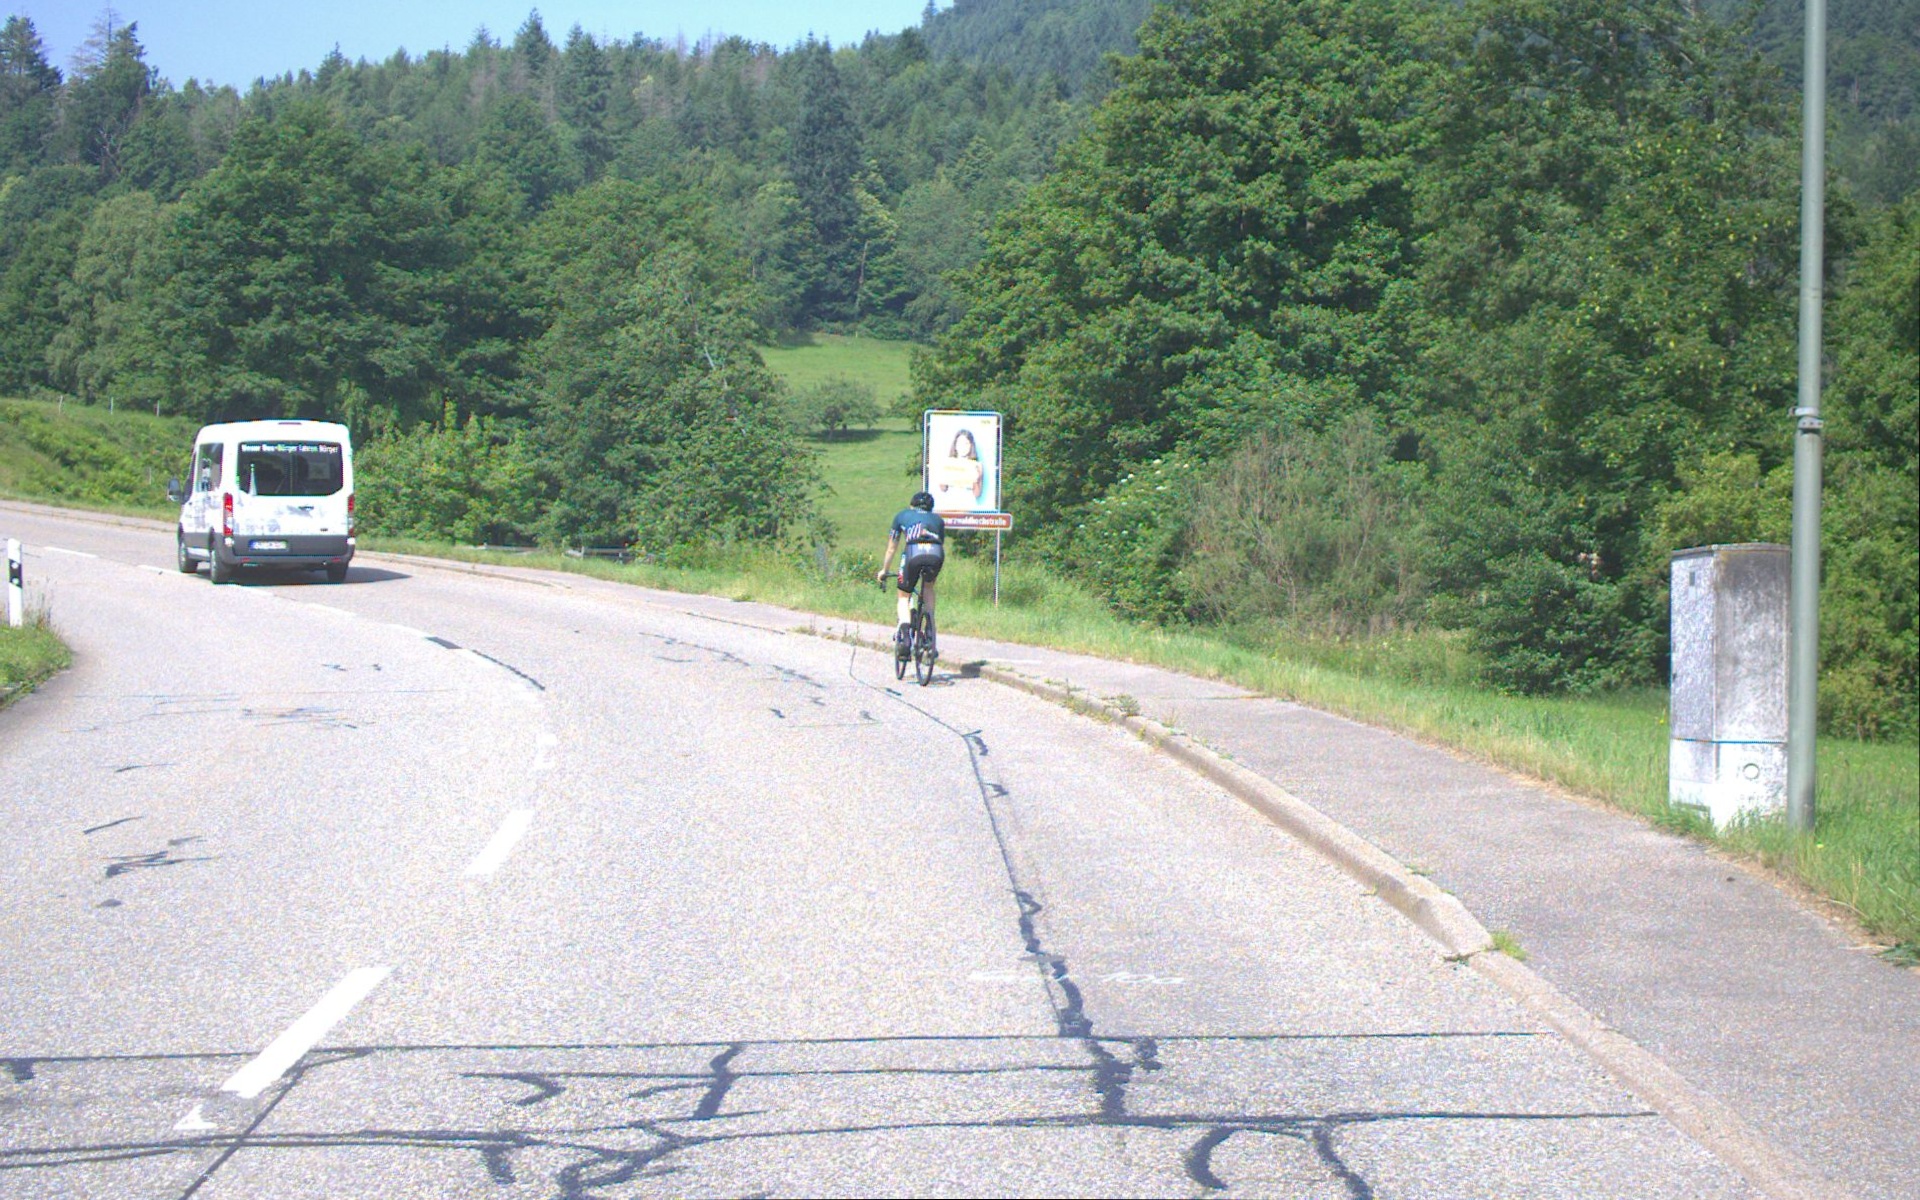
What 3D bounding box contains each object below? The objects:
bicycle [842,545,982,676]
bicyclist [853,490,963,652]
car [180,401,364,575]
[{"bbox_3d":[-0.433,0.071,29.661,0.579,1.031,1.991,-2,3,-20],"label":"bicycle"},{"bbox_3d":[-0.453,-0.260,29.476,0.579,1.338,1.145,-2,3,-20],"label":"bicyclist"},{"bbox_3d":[-10.685,-1.797,53.119,2.222,2.516,4.987,-2,4,-17],"label":"car"}]
